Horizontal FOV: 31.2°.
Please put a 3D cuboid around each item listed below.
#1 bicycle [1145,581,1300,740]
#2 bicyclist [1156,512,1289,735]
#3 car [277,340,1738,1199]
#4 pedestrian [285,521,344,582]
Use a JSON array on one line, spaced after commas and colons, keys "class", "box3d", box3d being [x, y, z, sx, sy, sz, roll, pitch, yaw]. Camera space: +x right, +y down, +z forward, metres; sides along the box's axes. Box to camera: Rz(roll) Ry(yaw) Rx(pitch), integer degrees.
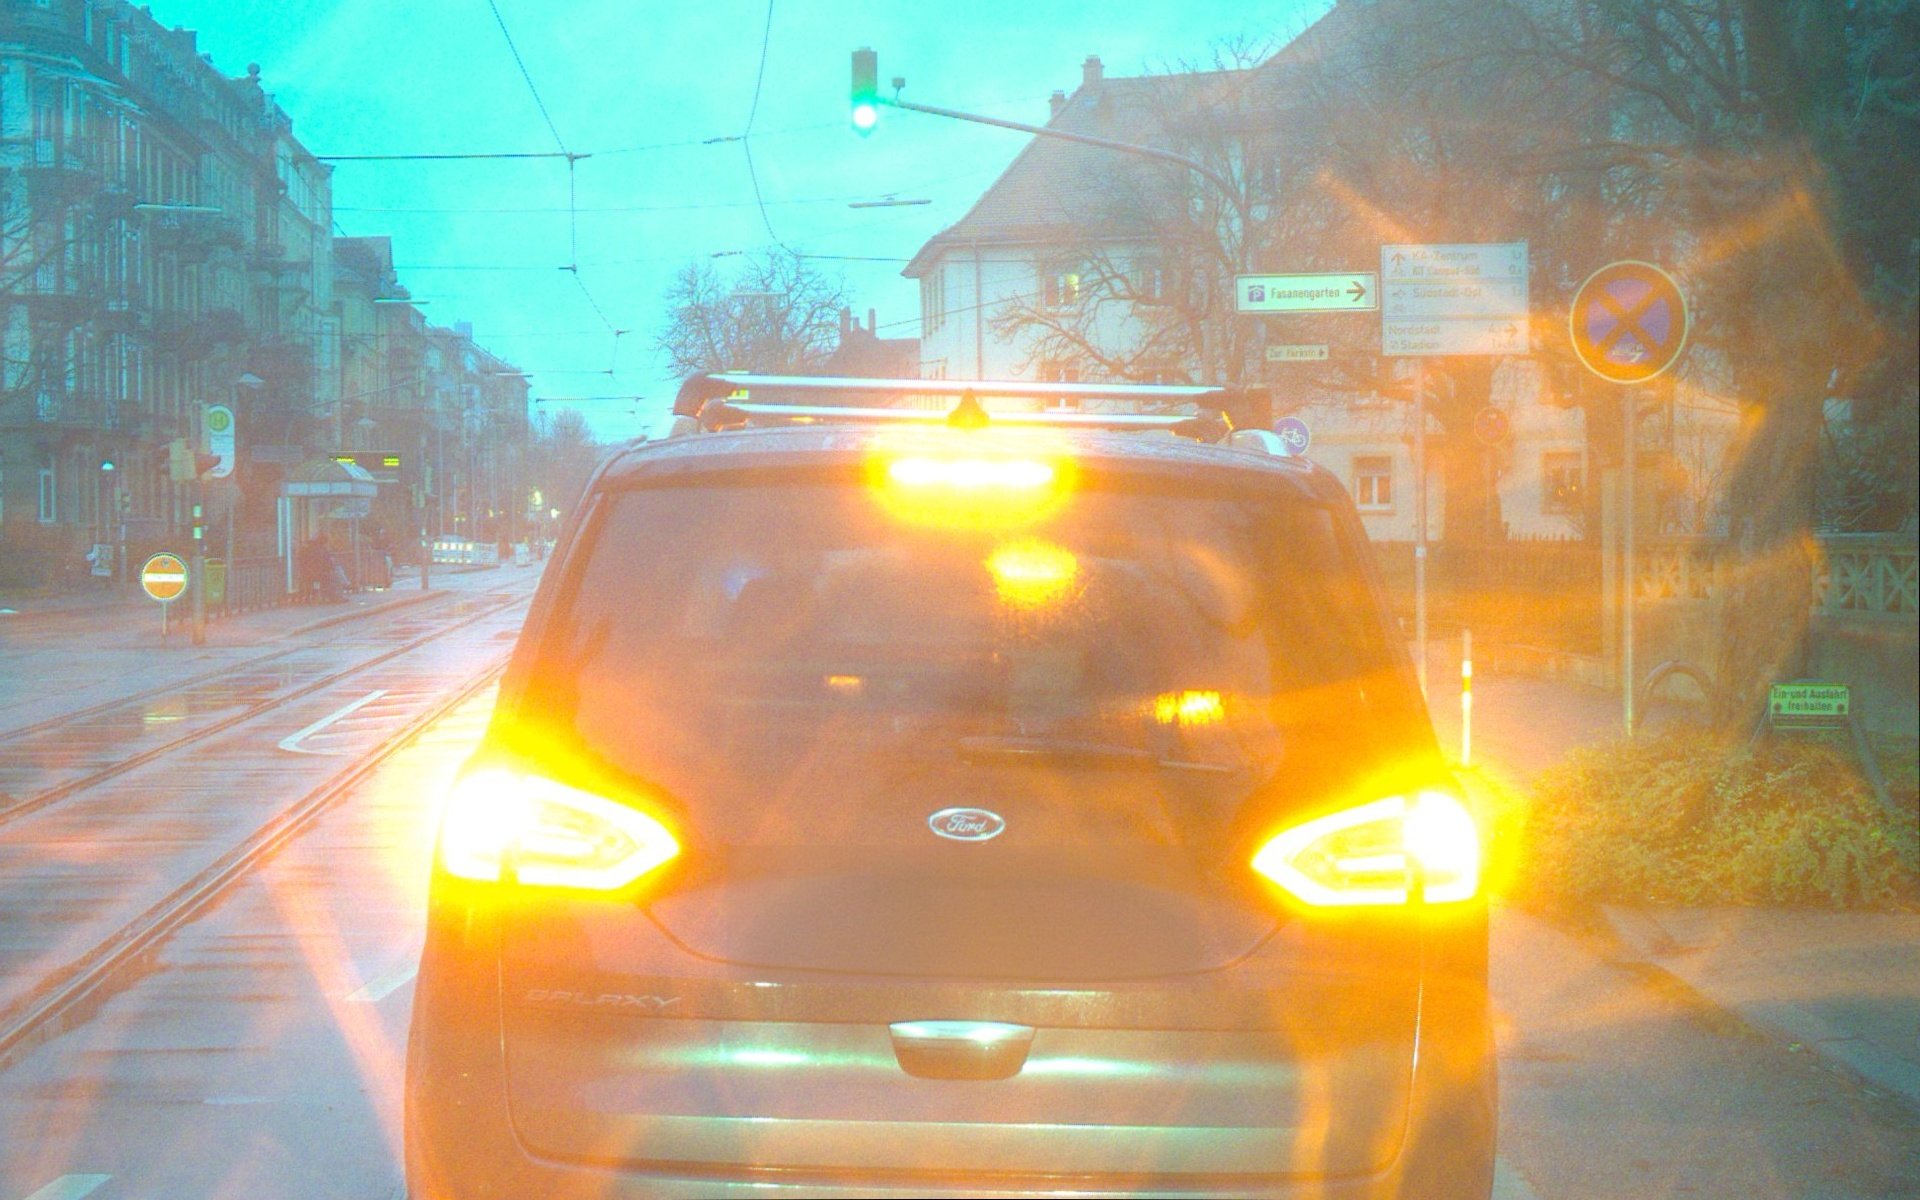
[{"class": "bicycle", "box3d": [2.021, 0.451, 26.711, 0.716, 1.108, 1.942, 4, 1, -9]}, {"class": "bicyclist", "box3d": [2.033, 0.169, 26.734, 0.716, 1.657, 1.057, 3, 1, -8]}, {"class": "car", "box3d": [-0.020, 0.506, 7.356, 2.103, 1.810, 4.661, 2, 1, -2]}, {"class": "pedestrian", "box3d": [-12.754, -0.951, 67.941, 1.047, 1.196, 0.885, 0, 0, -3]}]
